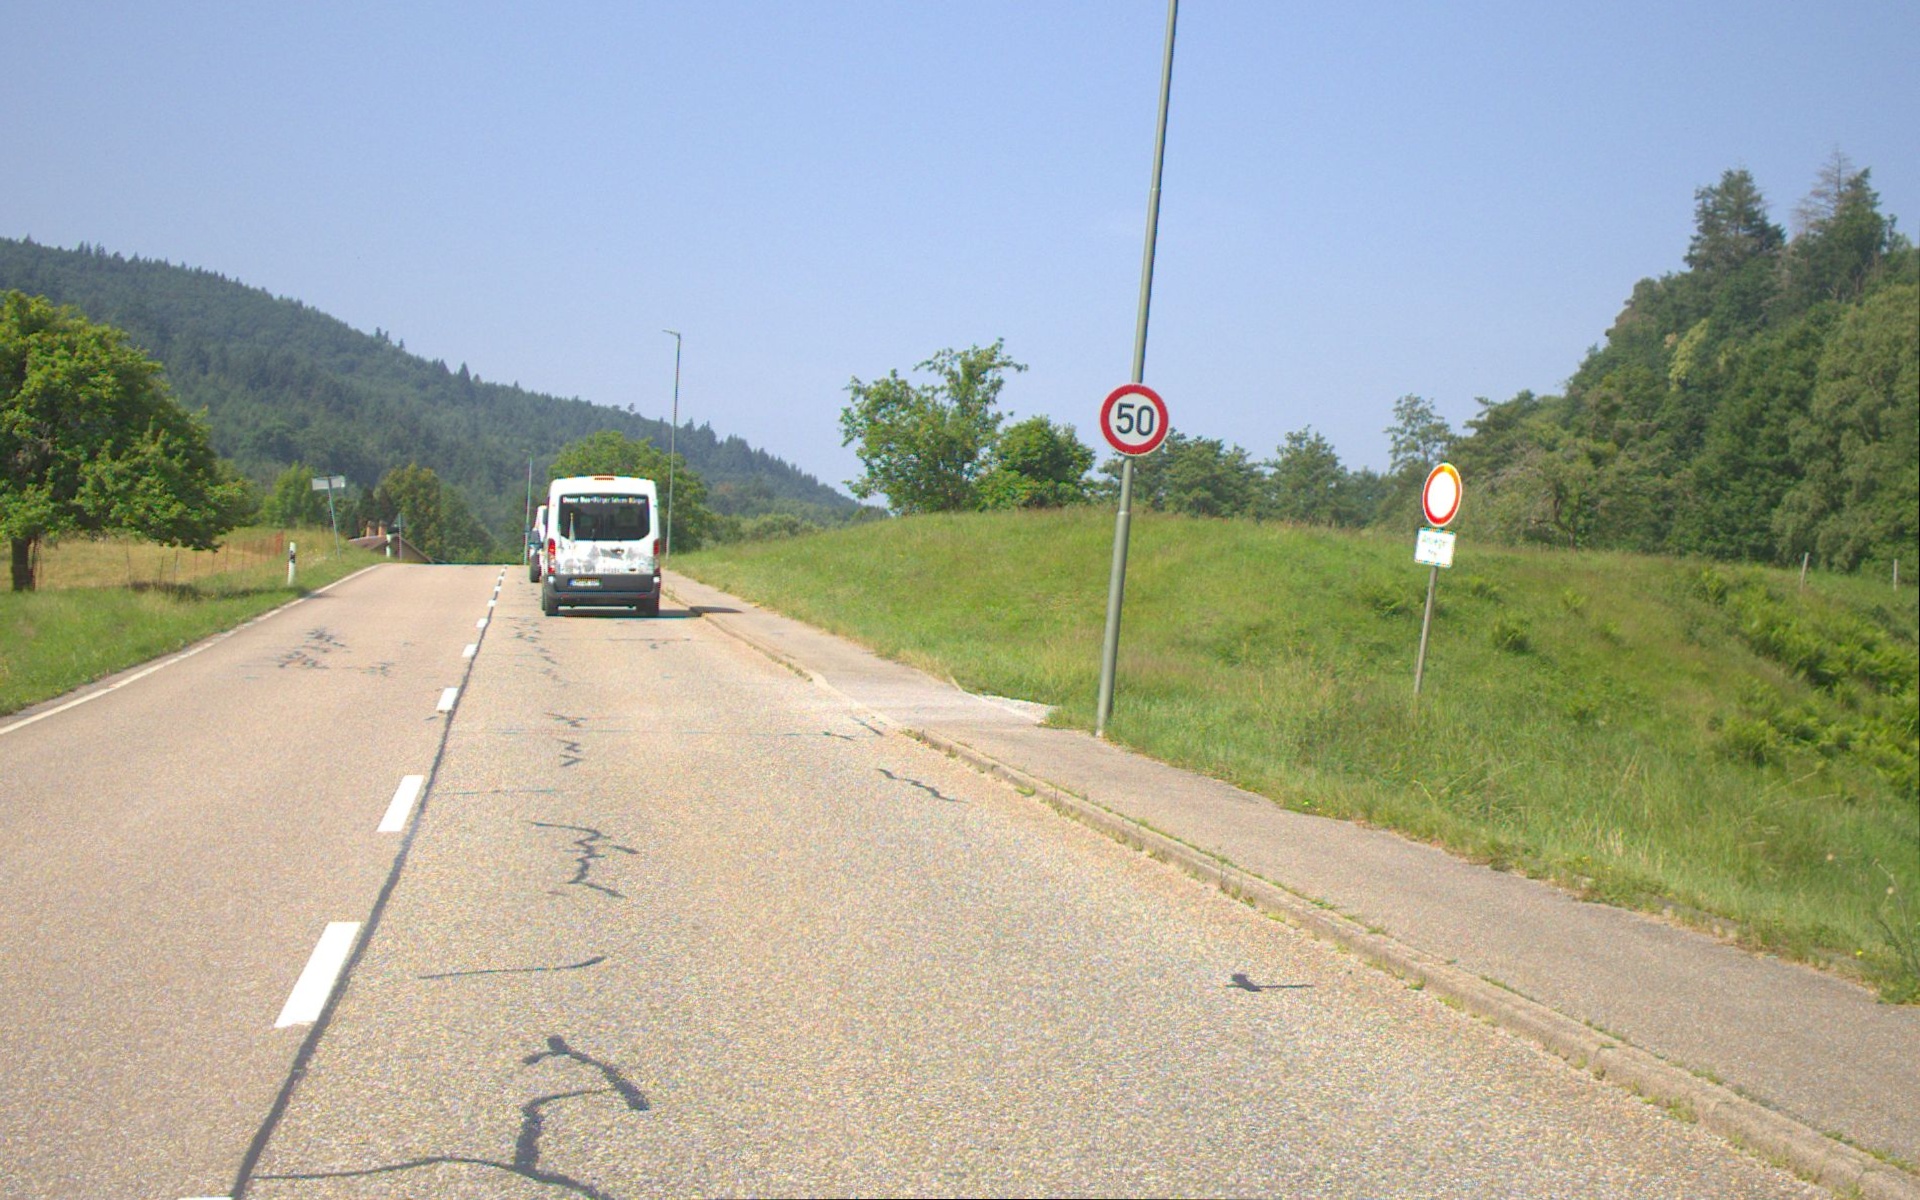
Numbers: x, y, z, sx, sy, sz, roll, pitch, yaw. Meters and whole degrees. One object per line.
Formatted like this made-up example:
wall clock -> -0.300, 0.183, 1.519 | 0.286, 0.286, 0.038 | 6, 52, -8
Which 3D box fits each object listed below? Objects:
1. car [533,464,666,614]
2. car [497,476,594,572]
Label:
car -> -6.542, -1.048, 61.967 | 2.222, 2.517, 4.985 | -1, 0, -7
car -> -10.760, -1.931, 88.919 | 2.222, 2.279, 4.985 | -1, 0, -9
